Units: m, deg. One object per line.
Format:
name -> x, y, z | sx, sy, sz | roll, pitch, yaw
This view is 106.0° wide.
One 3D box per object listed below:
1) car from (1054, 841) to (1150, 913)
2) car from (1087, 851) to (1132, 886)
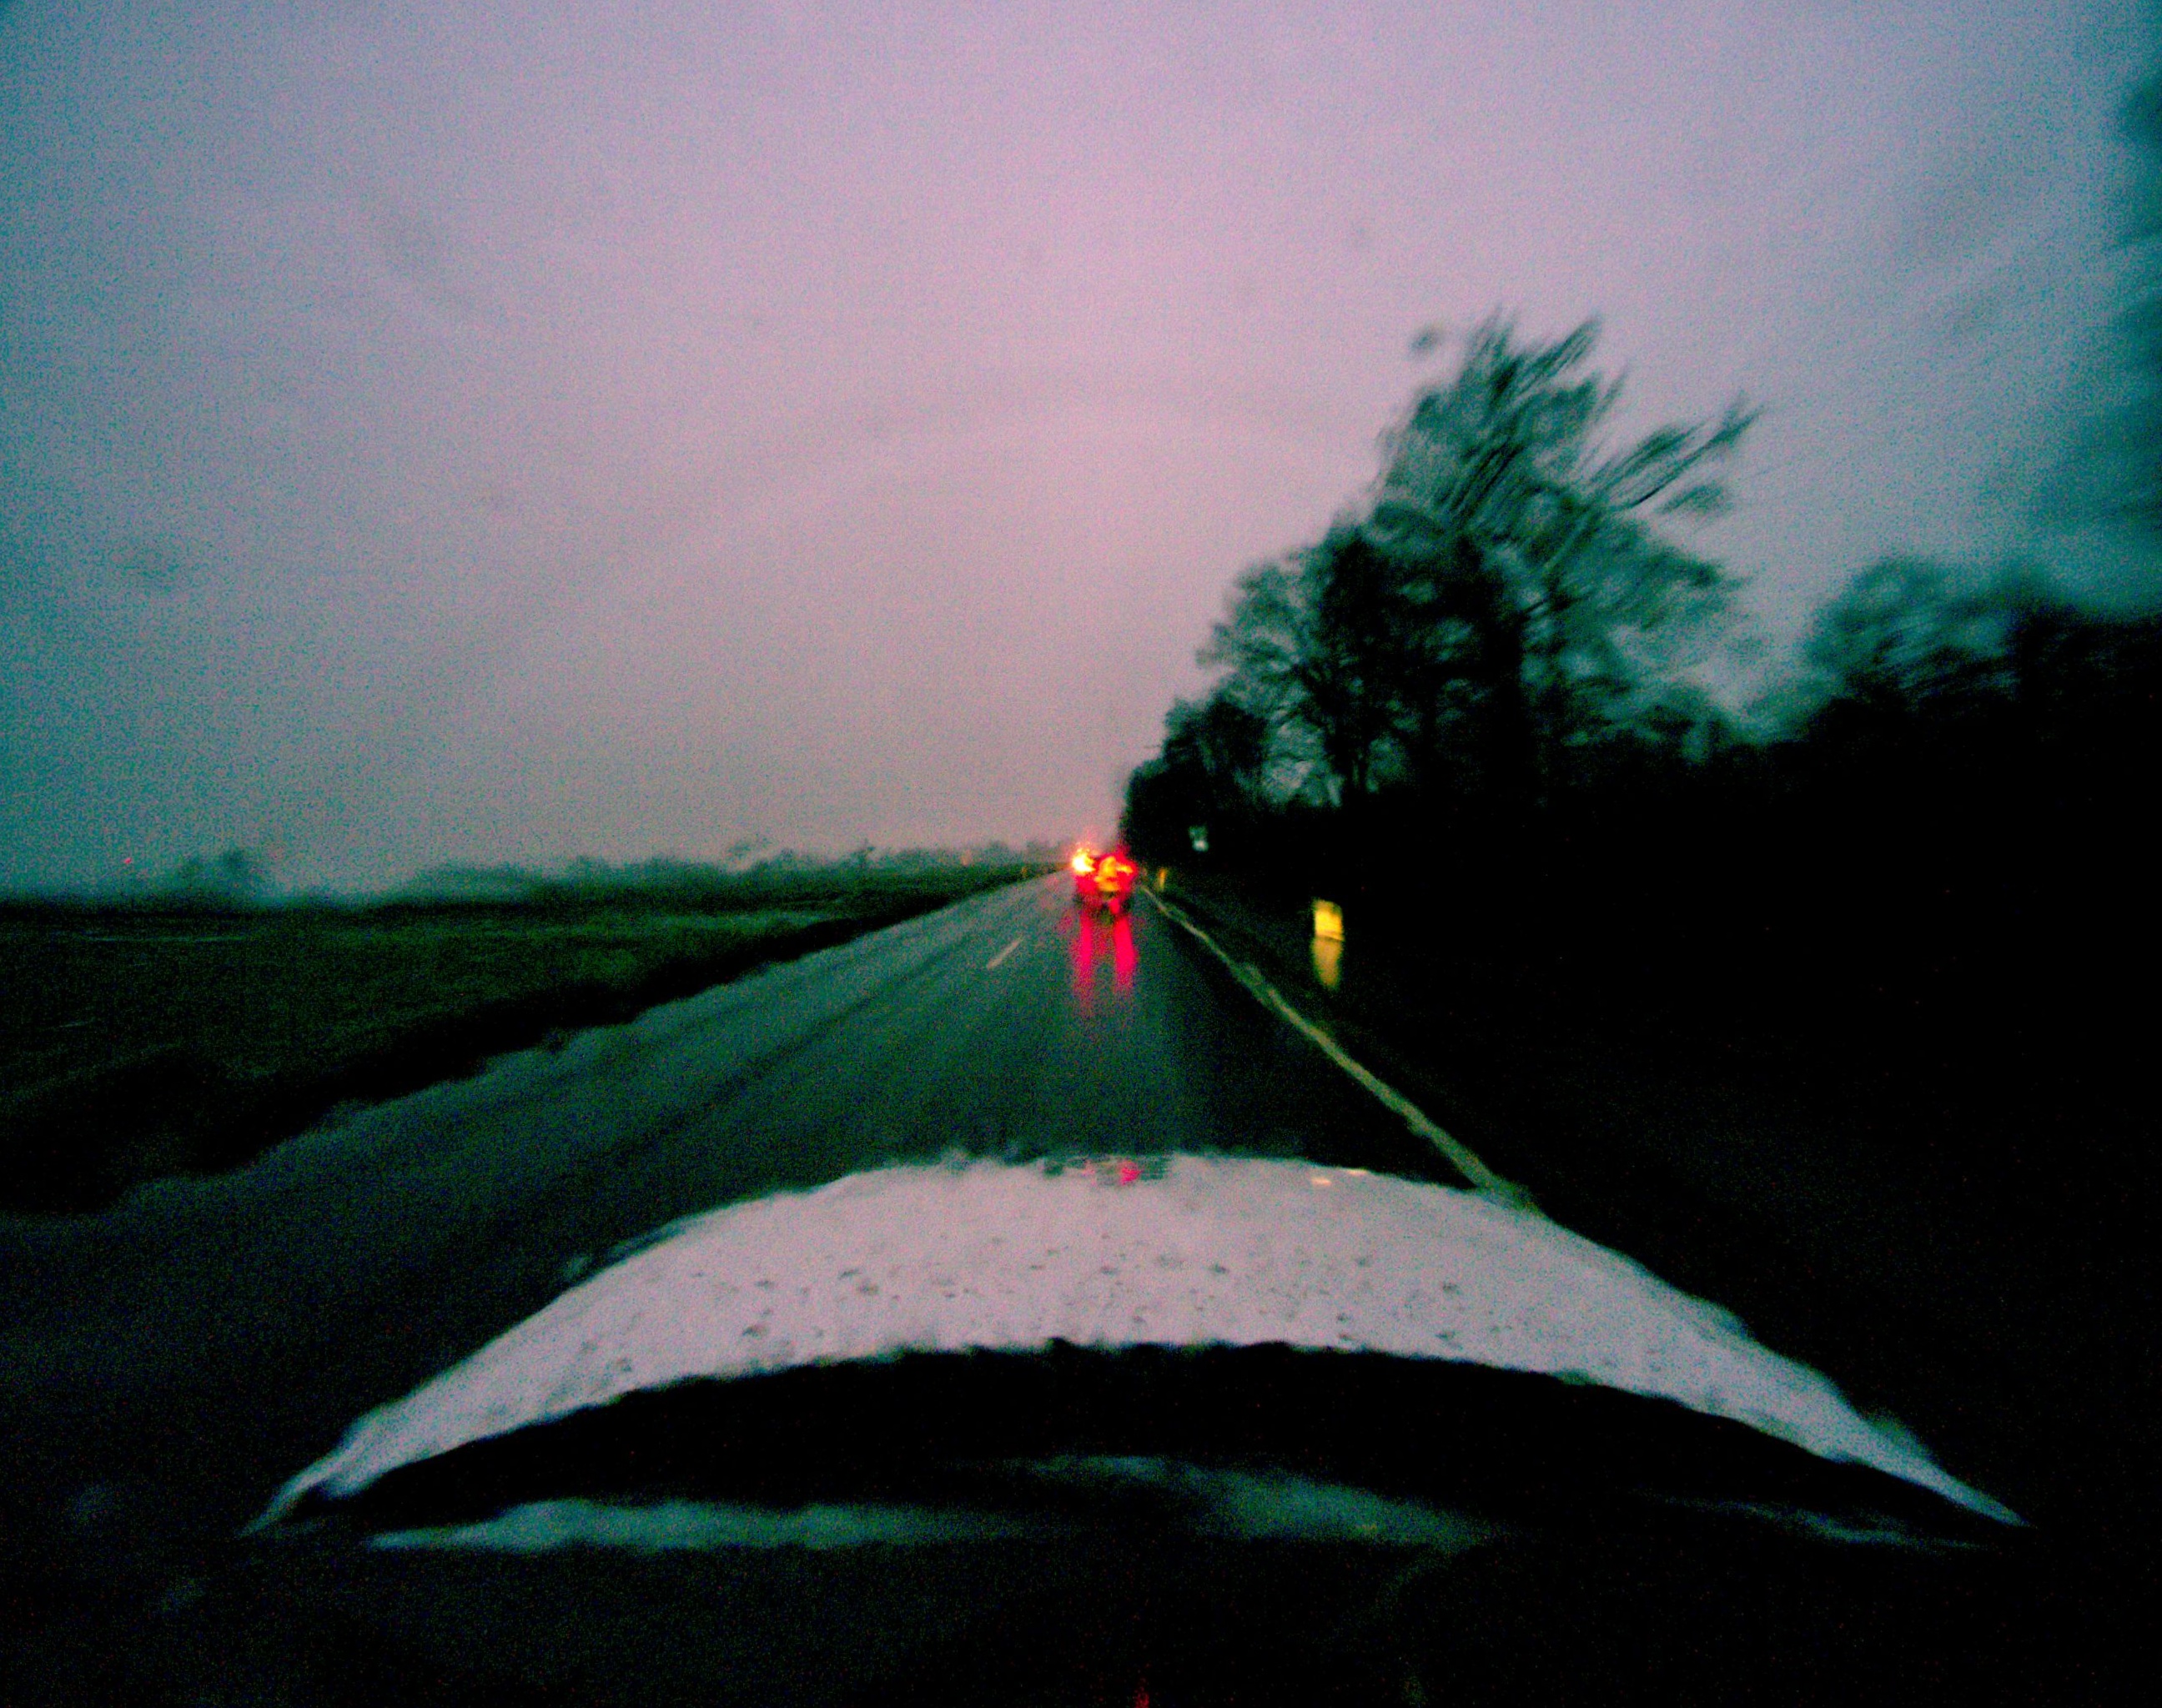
car -> 0.729, 0.693, 26.875 | 2.809, 2.077, 5.807 | -1, 0, 2
car -> 1.763, 0.878, 50.508 | 2.582, 2.014, 5.807 | -1, 0, 2
